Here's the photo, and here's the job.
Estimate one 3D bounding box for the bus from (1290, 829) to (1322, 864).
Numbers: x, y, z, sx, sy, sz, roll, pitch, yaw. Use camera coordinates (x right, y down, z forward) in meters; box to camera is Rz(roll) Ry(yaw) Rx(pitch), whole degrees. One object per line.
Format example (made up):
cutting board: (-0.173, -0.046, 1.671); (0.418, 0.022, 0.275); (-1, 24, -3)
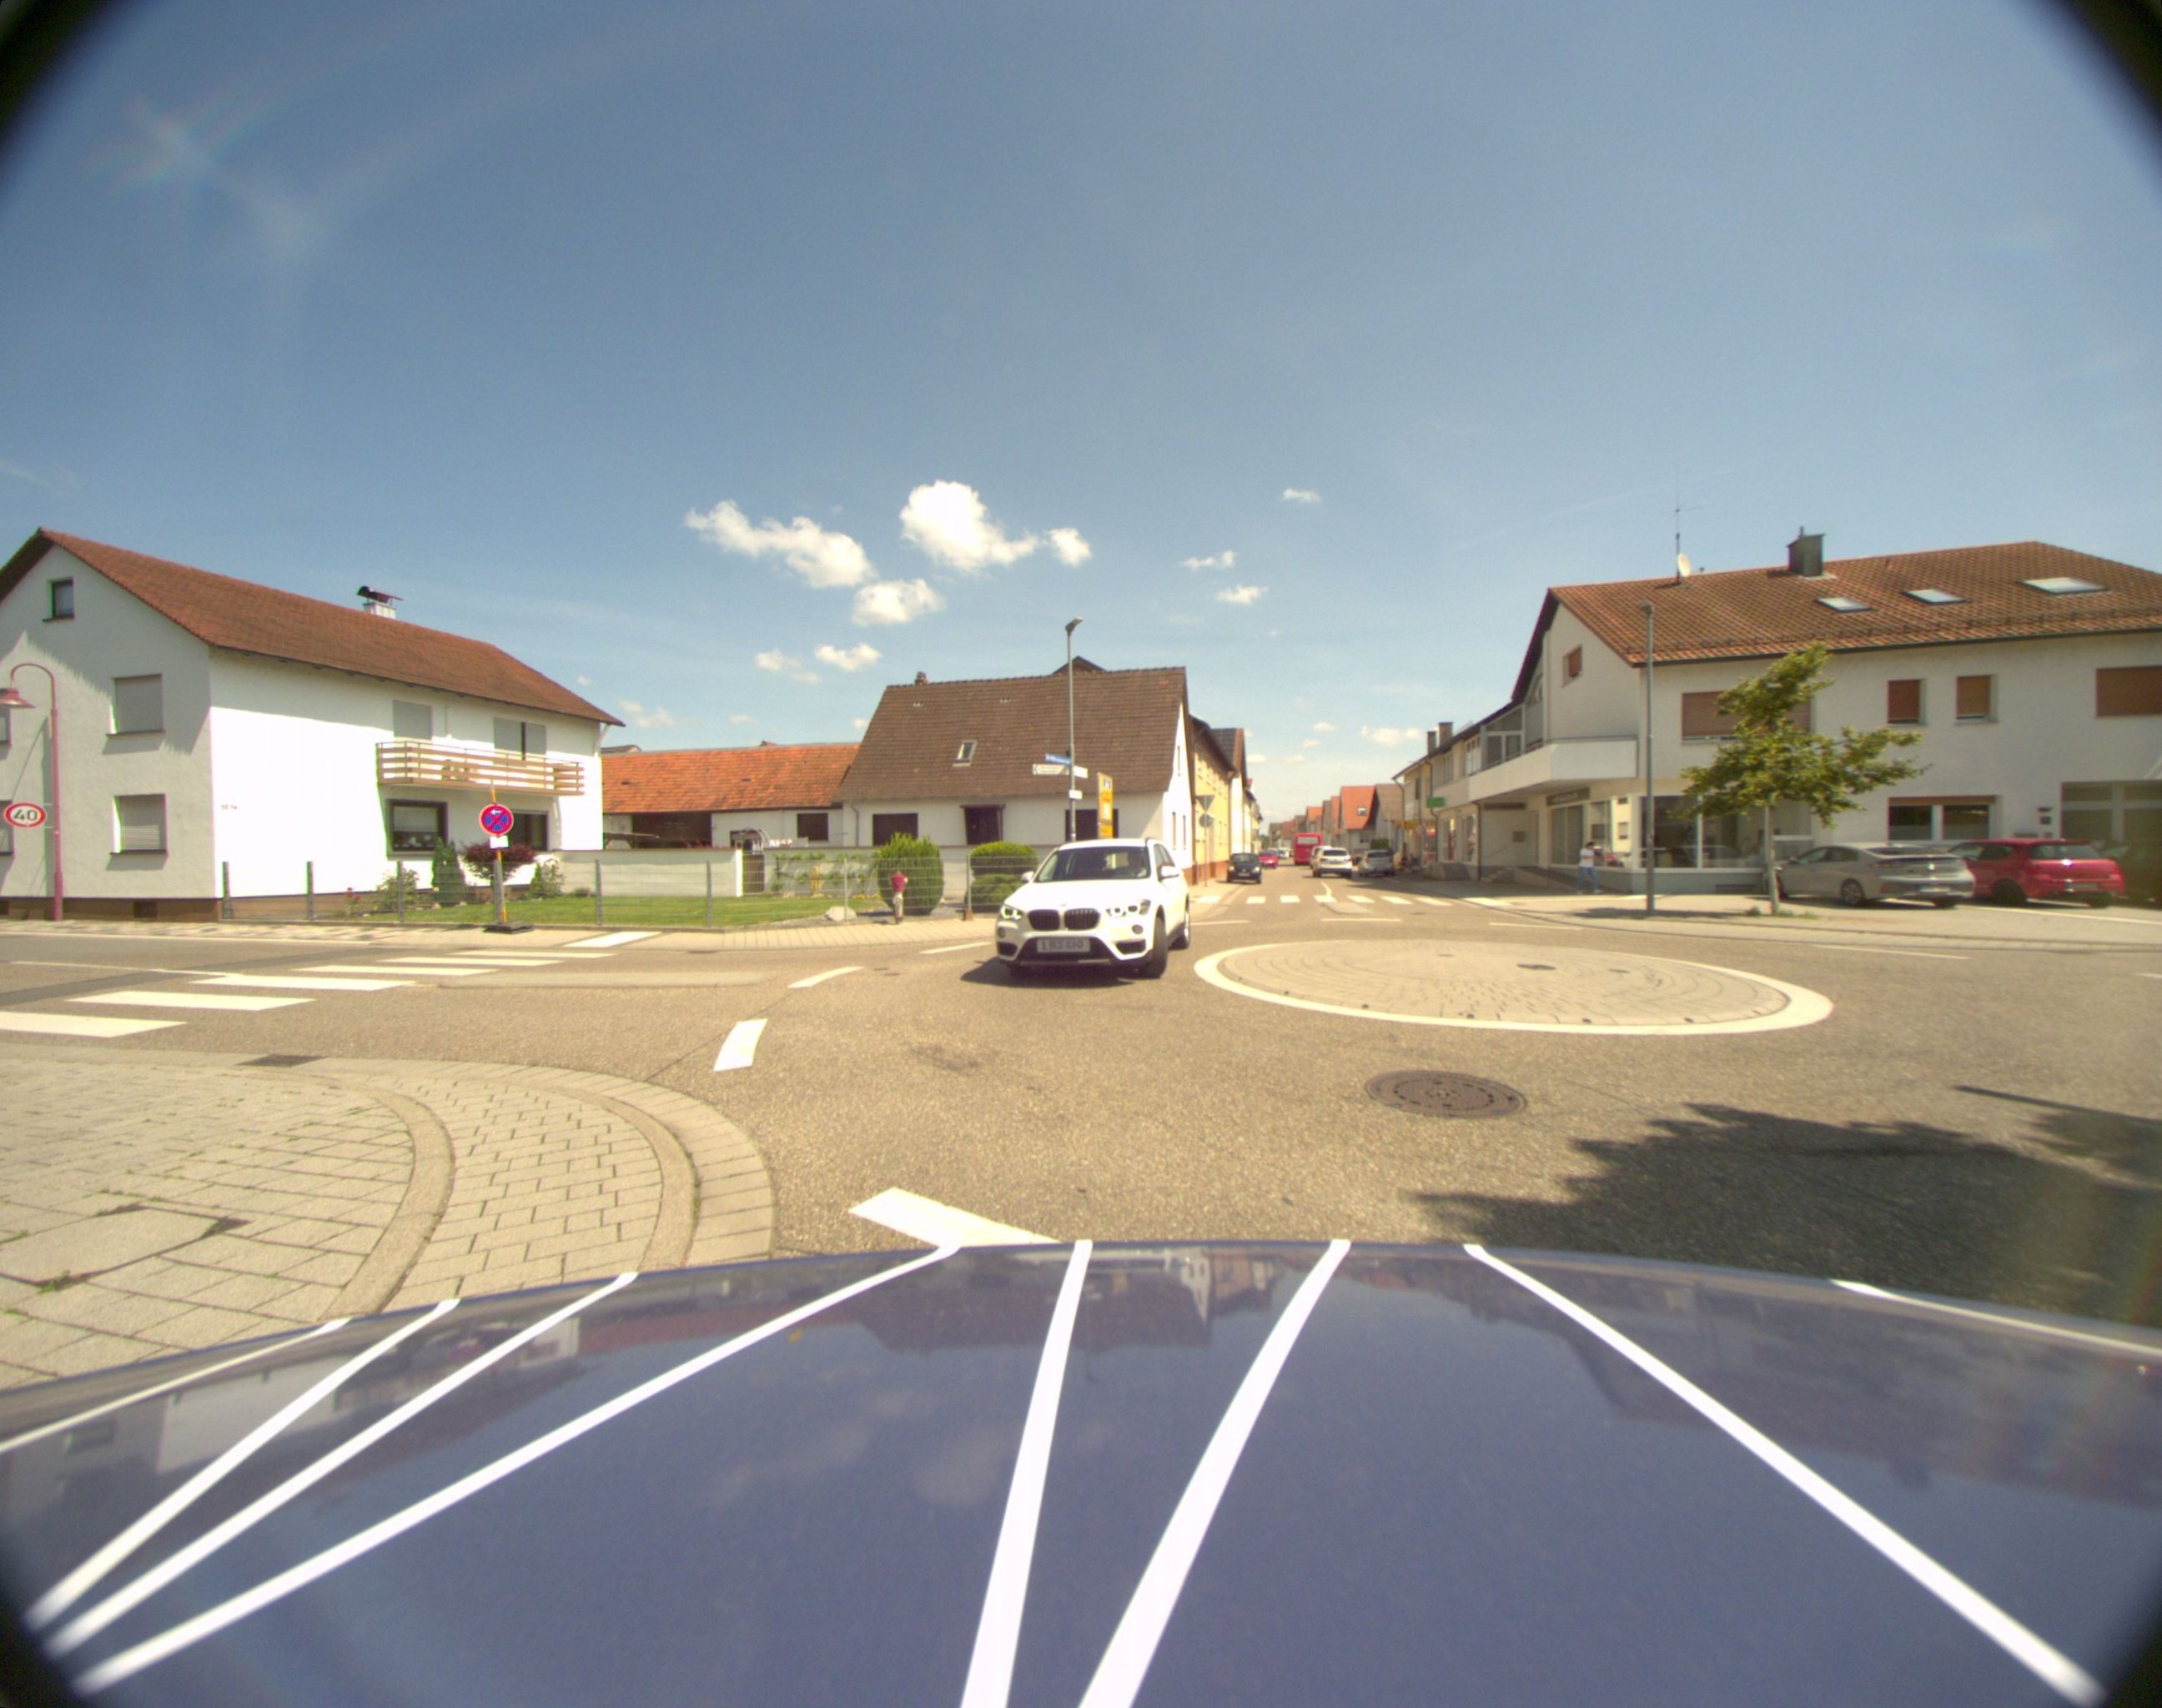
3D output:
bus: (22.377, -0.777, 75.952); (2.630, 3.213, 12.035); (1, 1, 15)

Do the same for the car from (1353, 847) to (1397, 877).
car: (17.034, 0.454, 44.176); (1.746, 1.507, 4.004); (-4, 0, 14)

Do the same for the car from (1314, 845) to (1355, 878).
car: (14.119, 0.378, 42.497); (1.868, 1.700, 4.547); (0, 1, 15)

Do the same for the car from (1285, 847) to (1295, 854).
car: (44.340, -0.757, 161.305); (1.763, 1.420, 3.856); (0, 0, 12)

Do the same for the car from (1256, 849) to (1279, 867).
car: (15.628, 0.301, 63.612); (1.762, 1.420, 4.194); (0, 0, 15)

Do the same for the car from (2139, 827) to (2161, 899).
car: (26.533, 0.237, 16.225); (1.983, 1.729, 4.753); (-1, 1, 14)

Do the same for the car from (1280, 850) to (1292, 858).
car: (35.171, -0.040, 130.477); (1.763, 1.420, 4.193); (0, 0, 12)

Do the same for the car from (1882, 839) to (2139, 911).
car: (21.204, 0.400, 17.633); (1.749, 1.469, 3.967); (-1, 1, 14)

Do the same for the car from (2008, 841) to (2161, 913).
car: (23.452, 0.463, 16.553); (1.832, 1.442, 4.483); (-1, 1, 14)

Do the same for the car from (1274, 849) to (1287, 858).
car: (31.390, -0.115, 119.429); (1.763, 1.420, 4.193); (0, 0, 12)

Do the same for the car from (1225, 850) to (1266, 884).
car: (7.797, 0.582, 35.826); (1.688, 1.455, 3.633); (2, 1, 15)

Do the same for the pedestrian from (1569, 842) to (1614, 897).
pedestrian: (15.154, 0.451, 22.571); (0.756, 1.574, 0.957); (-2, 1, 11)

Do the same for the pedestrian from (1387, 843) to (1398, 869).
pedestrian: (21.171, 0.130, 51.633); (0.578, 1.780, 0.694); (-2, 1, 15)

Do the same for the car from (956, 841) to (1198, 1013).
car: (0.249, 0.725, 9.556); (1.843, 1.635, 4.379); (-2, 0, 16)

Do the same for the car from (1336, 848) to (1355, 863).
car: (24.936, 0.131, 71.812); (1.456, 1.362, 3.388); (-3, 0, 16)

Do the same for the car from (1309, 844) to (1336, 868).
car: (19.294, 0.125, 60.740); (1.774, 1.810, 4.446); (1, 1, 14)

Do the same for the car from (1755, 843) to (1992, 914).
car: (18.584, 0.484, 18.179); (1.832, 1.442, 4.483); (-1, 1, 14)
